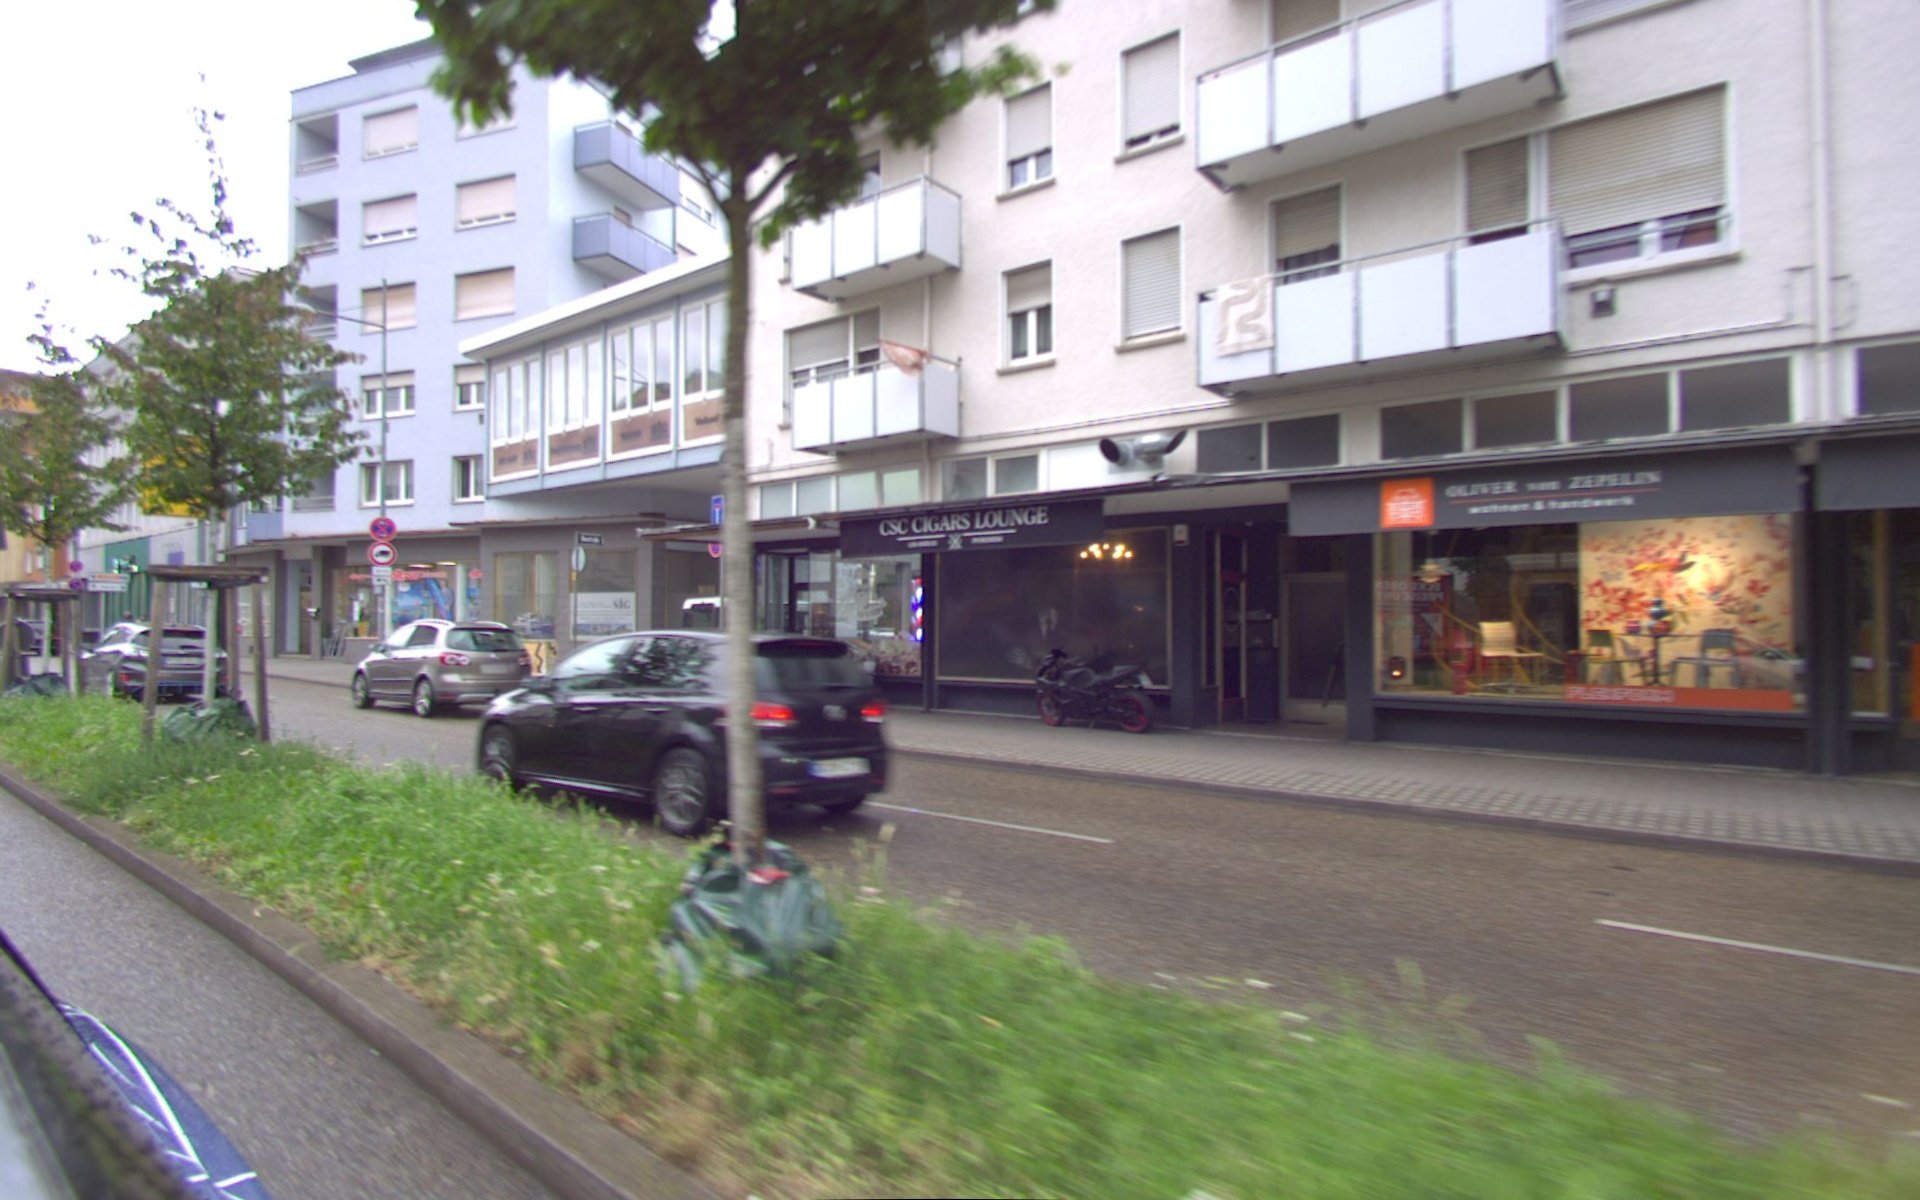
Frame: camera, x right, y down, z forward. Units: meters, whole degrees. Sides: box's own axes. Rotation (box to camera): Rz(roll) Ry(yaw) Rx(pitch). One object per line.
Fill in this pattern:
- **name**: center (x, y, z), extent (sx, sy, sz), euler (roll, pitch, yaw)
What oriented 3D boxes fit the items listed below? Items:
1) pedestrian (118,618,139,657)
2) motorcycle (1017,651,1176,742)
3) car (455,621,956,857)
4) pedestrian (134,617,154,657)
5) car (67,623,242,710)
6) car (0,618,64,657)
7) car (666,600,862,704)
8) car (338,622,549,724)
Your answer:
- **pedestrian**: center (-36.344, 1.639, 44.212), extent (0.530, 1.701, 0.520), euler (1, -2, 39)
- **motorcycle**: center (1.884, 1.313, 14.224), extent (2.193, 1.096, 0.662), euler (0, 0, 38)
- **car**: center (-2.215, 0.953, 8.269), extent (4.152, 1.452, 1.799), euler (-1, -4, 39)
- **pedestrian**: center (-35.980, 1.628, 44.637), extent (0.530, 1.701, 0.506), euler (1, -2, 39)
- **car**: center (-15.020, 1.195, 18.821), extent (3.835, 1.452, 1.681), euler (-1, -4, 39)
- **car**: center (-38.697, 1.518, 41.781), extent (4.197, 1.493, 1.829), euler (0, -4, 39)
- **car**: center (-4.239, 1.115, 22.372), extent (1.893, 2.070, 3.946), euler (-1, -2, 40)
- **car**: center (-9.130, 1.233, 17.781), extent (4.021, 1.601, 1.755), euler (-1, -4, 38)
